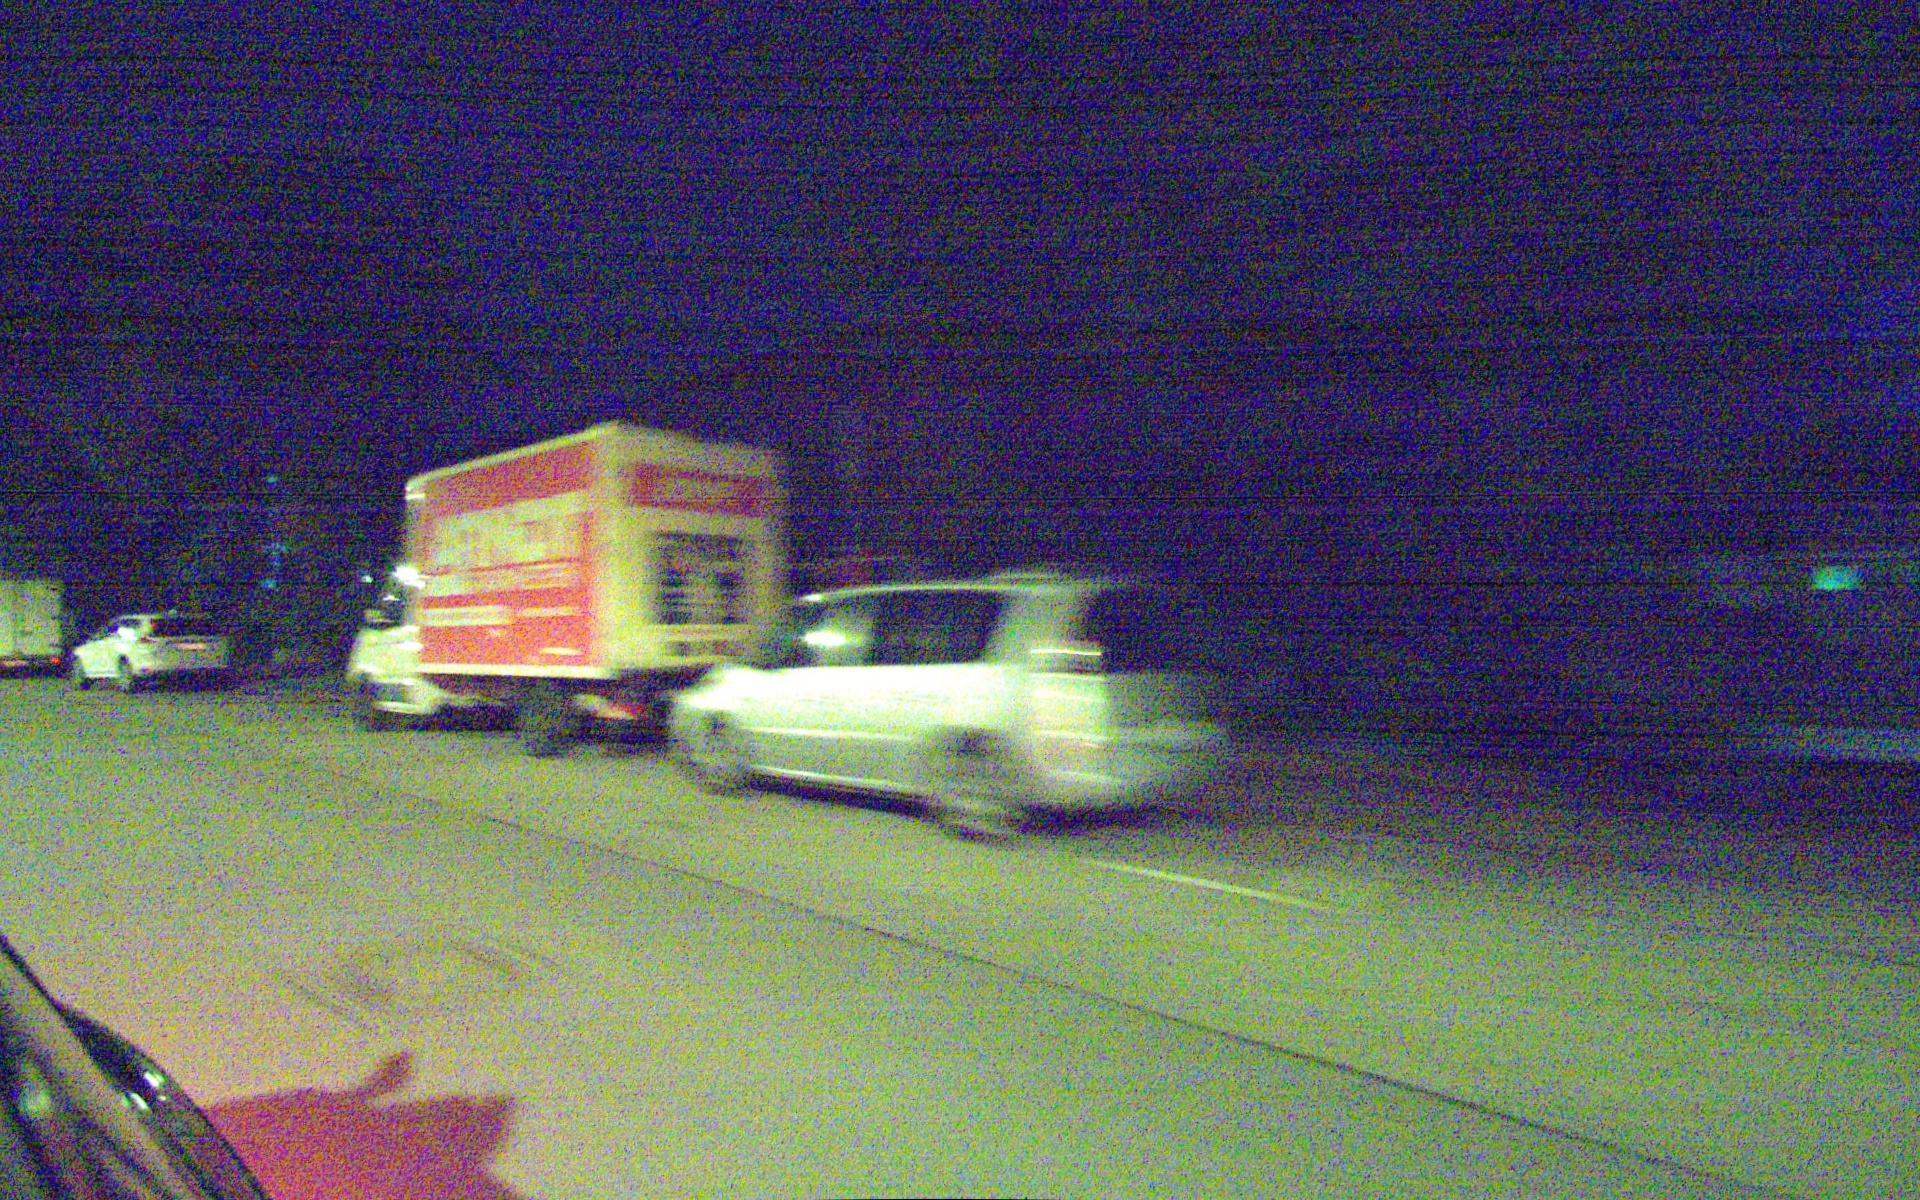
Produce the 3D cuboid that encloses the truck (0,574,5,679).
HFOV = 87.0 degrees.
[{"bbox_3d":[-33.433,0.869,32.513,7.209,3.268,2.354,-1,-1,33],"label":"truck"}]

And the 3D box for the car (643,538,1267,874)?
[{"bbox_3d":[-0.322,0.639,7.811,4.836,1.830,1.810,-2,-2,41],"label":"car"}]

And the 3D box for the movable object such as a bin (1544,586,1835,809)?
[{"bbox_3d":[5.901,0.677,8.139,2.308,1.506,1.417,0,-2,-42],"label":"movable object such as a bin"}]

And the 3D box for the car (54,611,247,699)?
[{"bbox_3d":[-18.183,1.167,22.675,4.677,1.785,1.978,-1,-1,32],"label":"car"}]

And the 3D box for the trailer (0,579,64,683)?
[{"bbox_3d":[-27.822,0.893,28.848,4.600,2.816,2.188,-1,-1,31],"label":"trailer"}]

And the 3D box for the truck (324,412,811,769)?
[{"bbox_3d":[-5.262,-0.014,12.686,7.306,3.305,2.518,-2,-1,40],"label":"truck"}]
